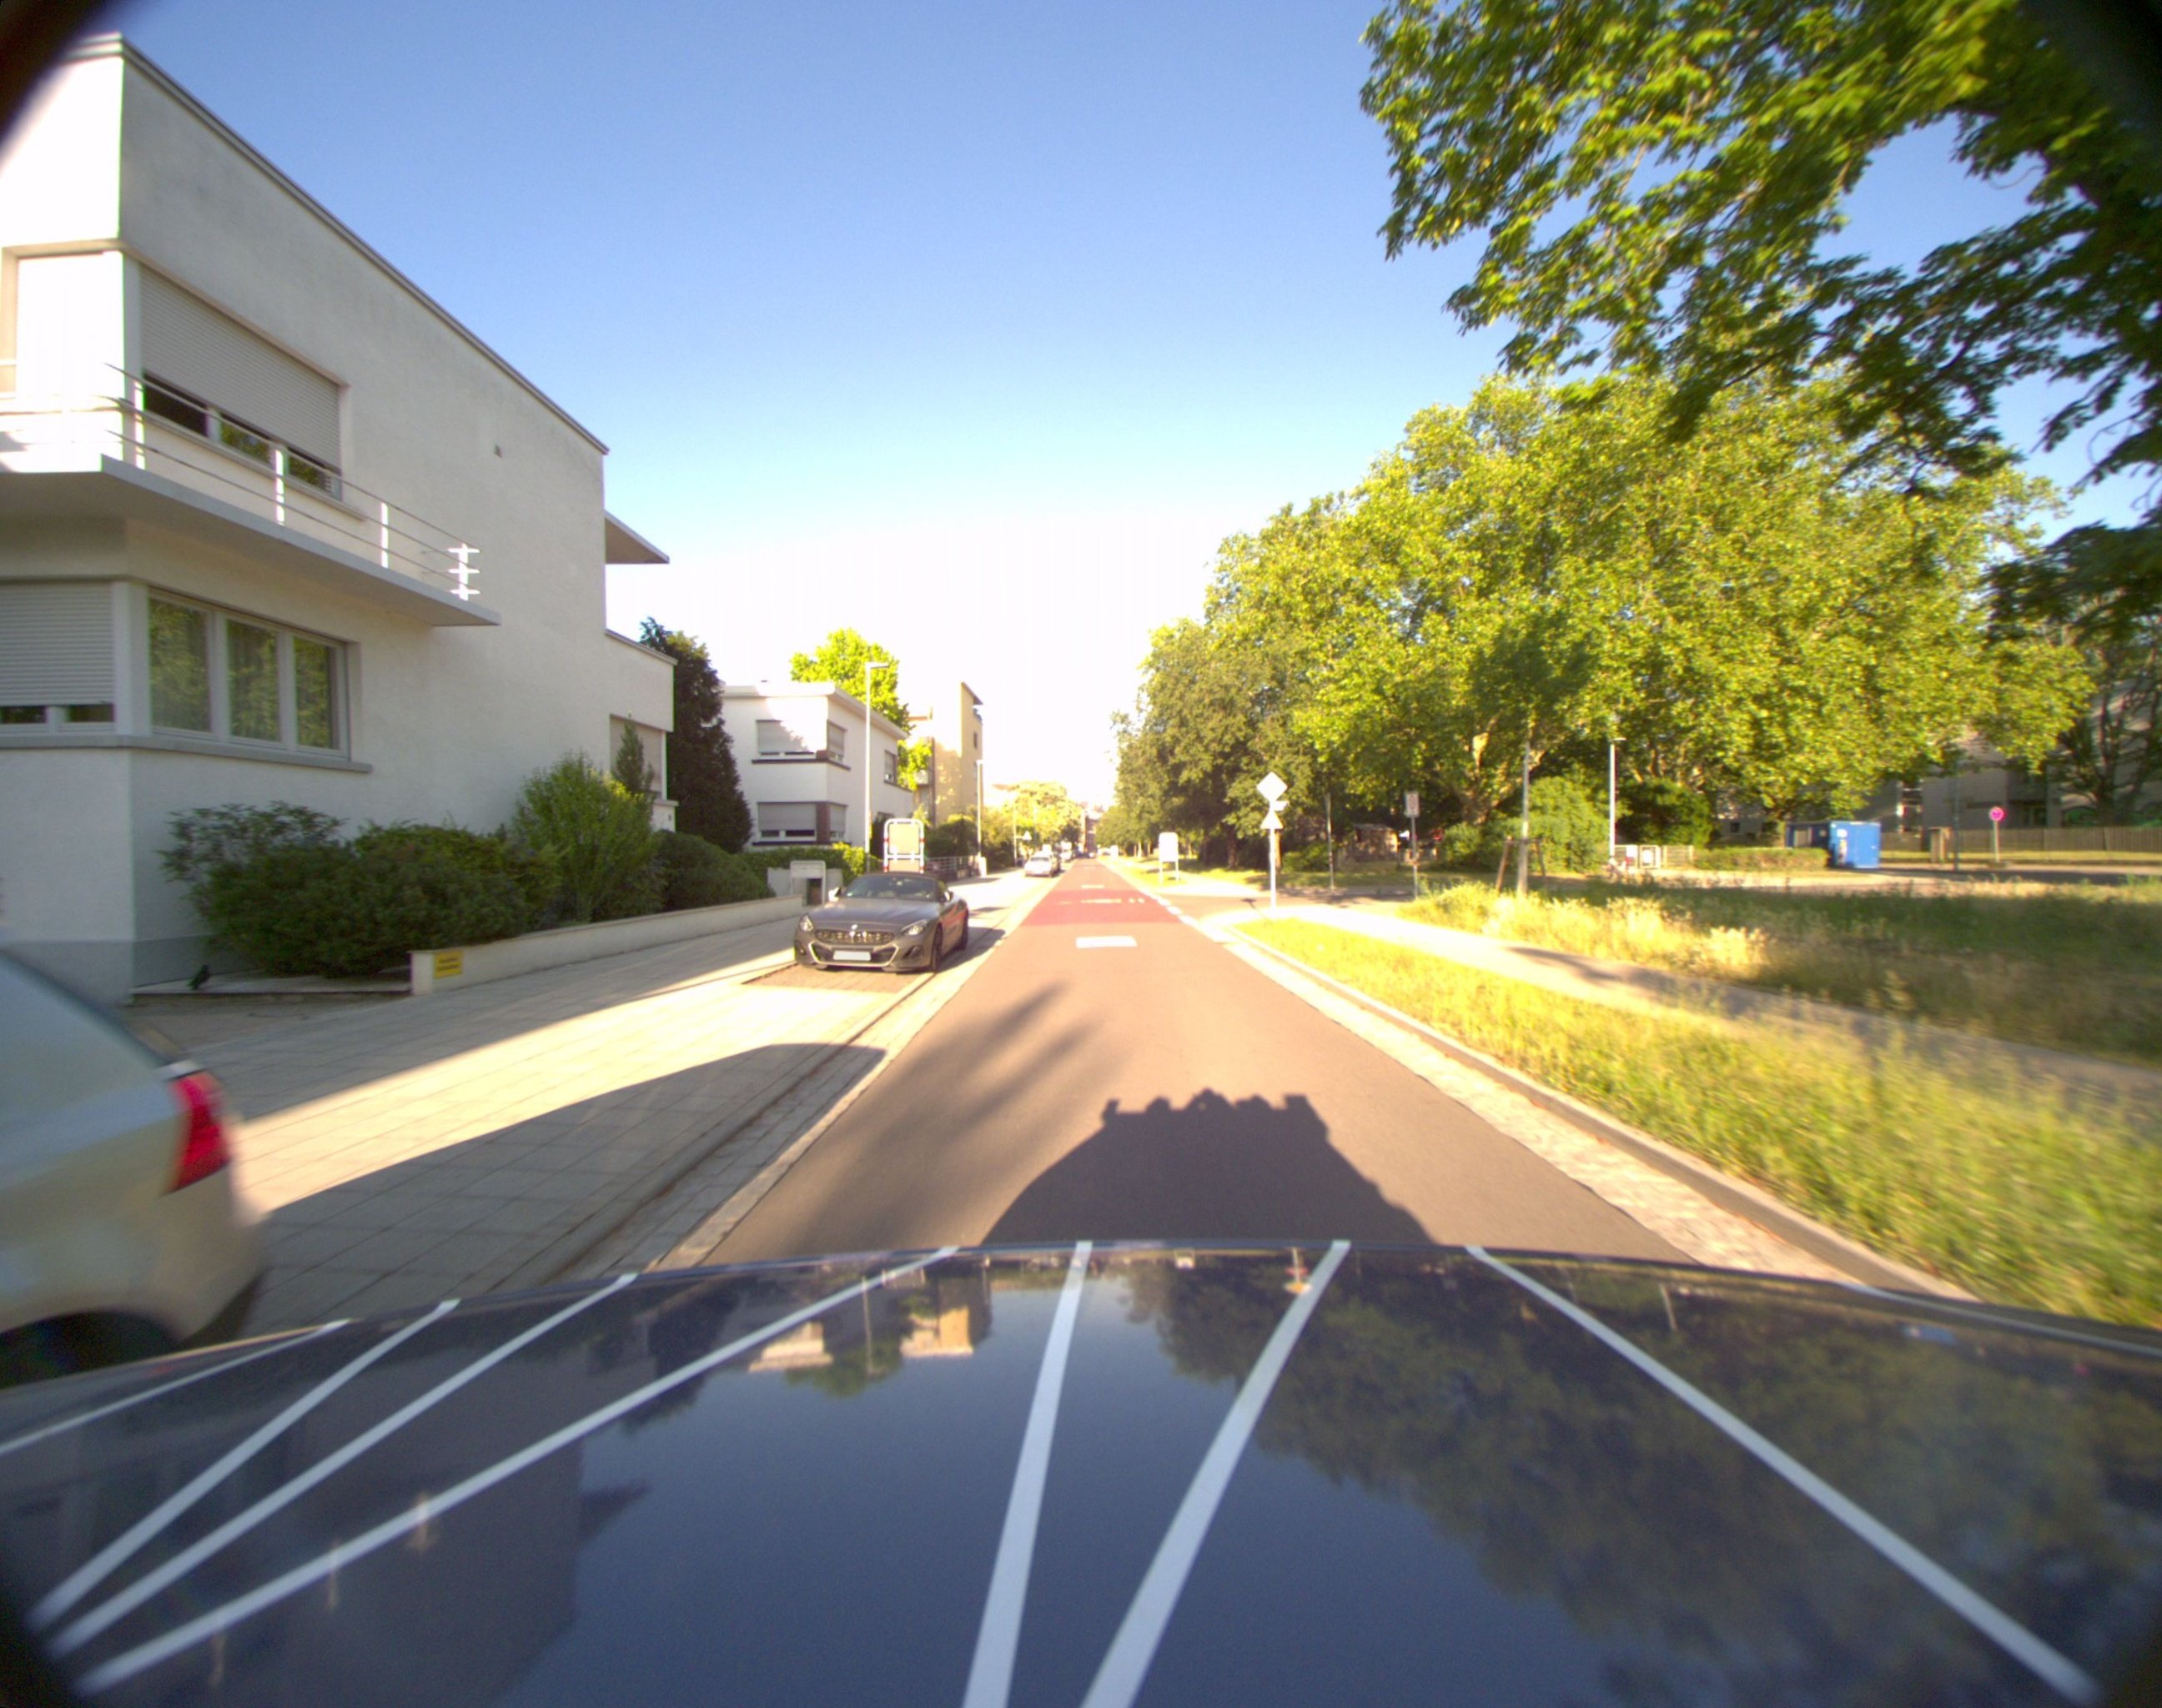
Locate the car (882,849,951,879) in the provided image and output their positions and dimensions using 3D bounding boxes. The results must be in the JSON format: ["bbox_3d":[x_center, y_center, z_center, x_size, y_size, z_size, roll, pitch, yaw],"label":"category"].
[{"bbox_3d":[-9.444,0.546,43.843,3.499,1.632,1.644,-1,1,8],"label":"car"}]

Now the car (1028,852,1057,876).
[{"bbox_3d":[-2.385,0.616,48.251,1.567,1.382,4.374,1,1,1],"label":"car"}]

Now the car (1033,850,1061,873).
[{"bbox_3d":[-2.385,0.499,54.478,1.683,1.546,4.130,1,1,2],"label":"car"}]

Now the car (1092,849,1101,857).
[{"bbox_3d":[3.524,-0.220,170.887,1.849,1.837,4.572,-2,0,-2],"label":"car"}]

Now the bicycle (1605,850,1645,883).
[{"bbox_3d":[20.525,0.465,28.652,1.591,1.180,0.419,-1,2,-22],"label":"bicycle"}]

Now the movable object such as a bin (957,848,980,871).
[{"bbox_3d":[-7.025,0.322,47.476,1.240,1.424,1.123,-1,1,2],"label":"movable object such as a bin"}]

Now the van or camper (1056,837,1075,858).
[{"bbox_3d":[-2.162,-0.915,106.378,2.427,2.767,5.951,1,1,-1],"label":"van or camper"}]

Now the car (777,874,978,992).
[{"bbox_3d":[-2.774,1.023,11.419,1.779,1.281,4.272,2,0,1],"label":"car"}]
